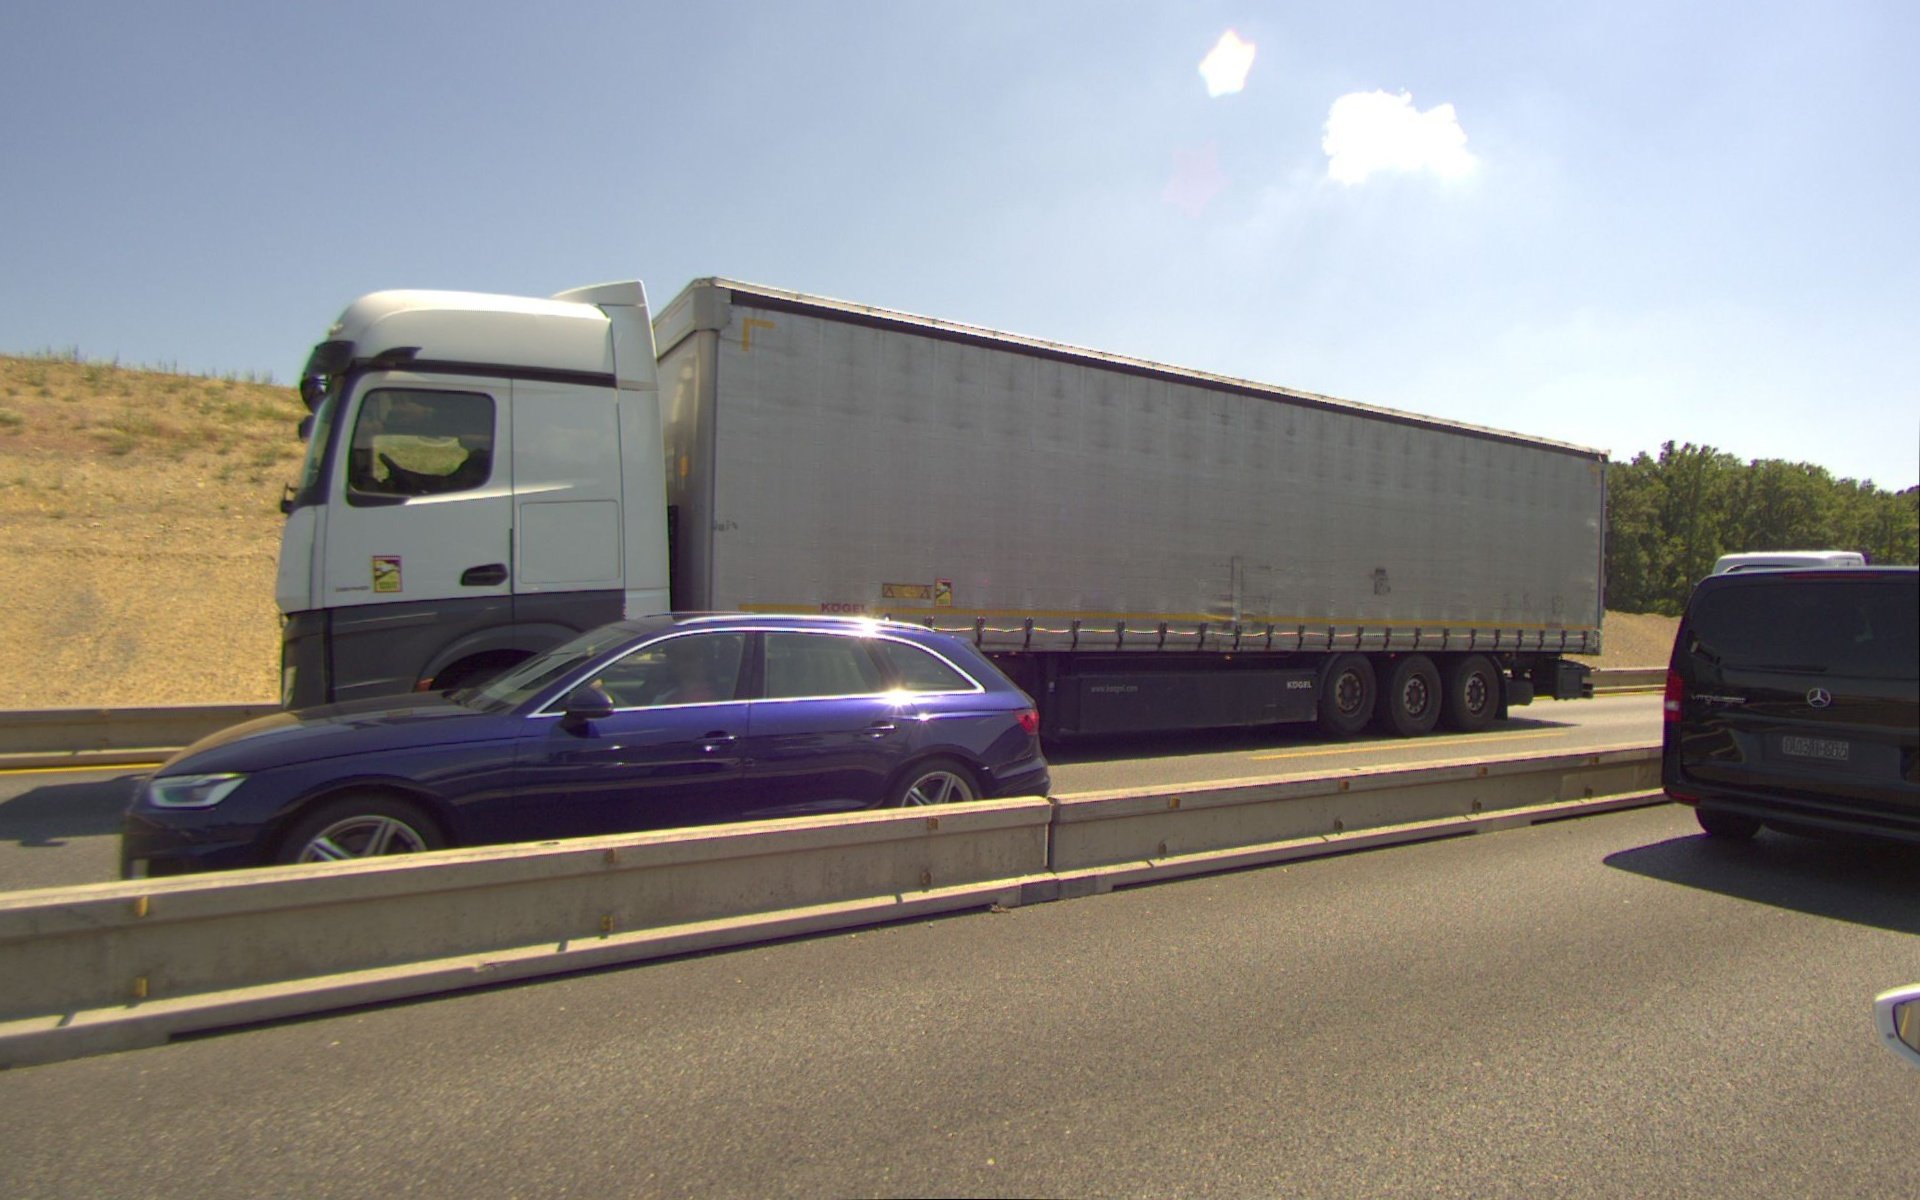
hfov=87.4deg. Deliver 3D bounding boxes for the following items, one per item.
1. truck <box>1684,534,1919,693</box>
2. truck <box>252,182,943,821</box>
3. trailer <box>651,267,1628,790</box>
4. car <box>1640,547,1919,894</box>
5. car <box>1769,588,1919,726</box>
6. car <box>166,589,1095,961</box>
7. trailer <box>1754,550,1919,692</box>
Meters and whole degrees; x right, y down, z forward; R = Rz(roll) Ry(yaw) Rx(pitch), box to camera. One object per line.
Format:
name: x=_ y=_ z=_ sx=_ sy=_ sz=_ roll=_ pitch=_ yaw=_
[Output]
truck: x=18.432 y=0.356 z=21.891 sx=5.003 sy=3.099 sz=2.387 roll=3 pitch=0 yaw=-30
truck: x=-3.005 y=-0.546 z=8.862 sx=4.885 sy=4.097 sz=2.756 roll=3 pitch=0 yaw=-30
trailer: x=3.362 y=-0.426 z=12.616 sx=13.552 sy=4.130 sz=2.776 roll=1 pitch=0 yaw=-31
car: x=7.304 y=0.723 z=7.199 sx=5.415 sy=1.876 sz=1.865 roll=2 pitch=0 yaw=-31
car: x=15.379 y=0.902 z=16.302 sx=5.204 sy=1.952 sz=1.816 roll=3 pitch=0 yaw=-31
car: x=-1.528 y=0.748 z=5.709 sx=4.434 sy=1.405 sz=1.718 roll=3 pitch=-1 yaw=-31
trailer: x=25.411 y=0.652 z=25.851 sx=15.088 sy=2.971 sz=2.336 roll=2 pitch=0 yaw=-30
